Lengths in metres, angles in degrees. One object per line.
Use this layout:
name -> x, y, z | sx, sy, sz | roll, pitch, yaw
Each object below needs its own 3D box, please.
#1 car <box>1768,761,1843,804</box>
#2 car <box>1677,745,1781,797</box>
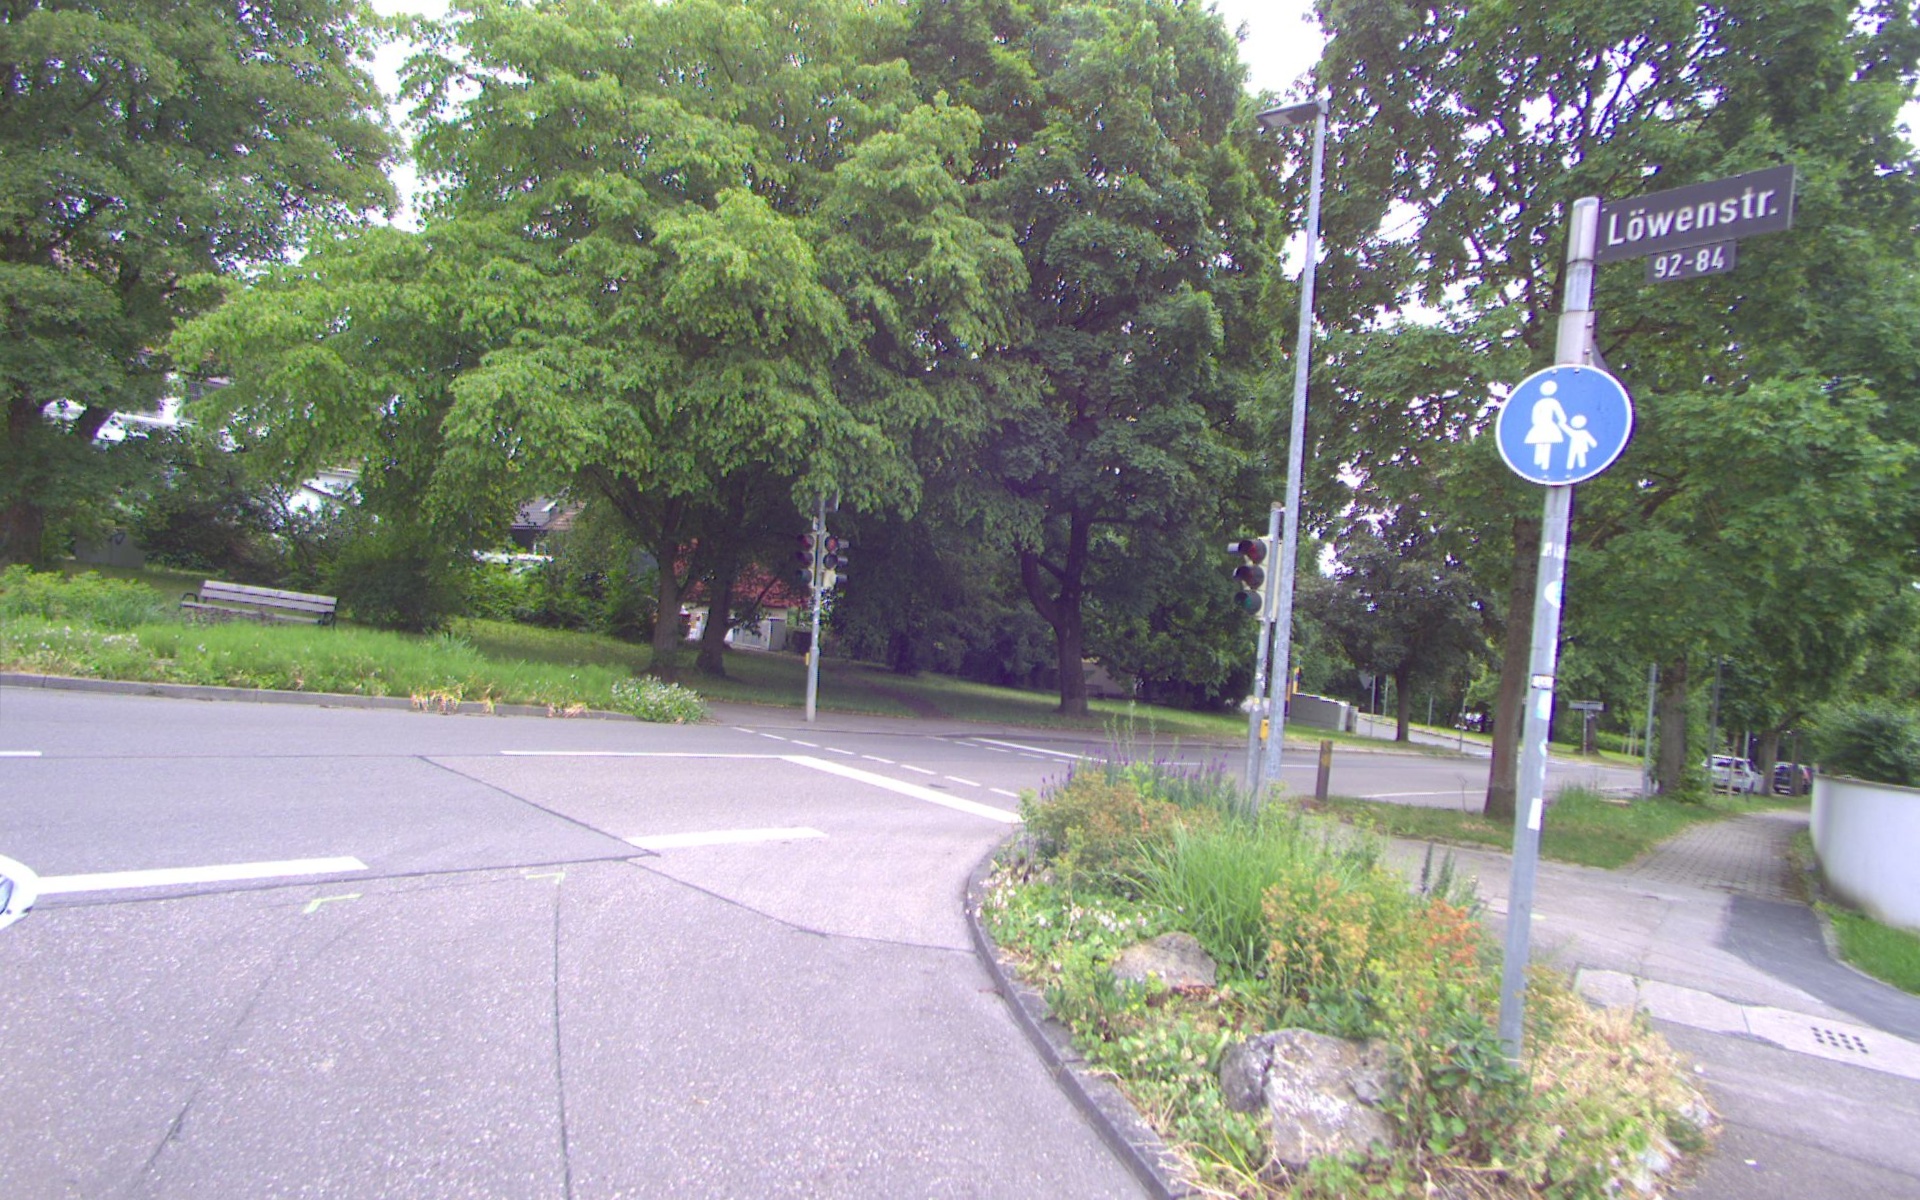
car -> 39.623, 8.542, 47.111 | 3.815, 1.577, 1.743 | 10, -2, -37
car -> 29.837, 6.624, 39.019 | 3.963, 1.571, 1.981 | 7, 0, -35
